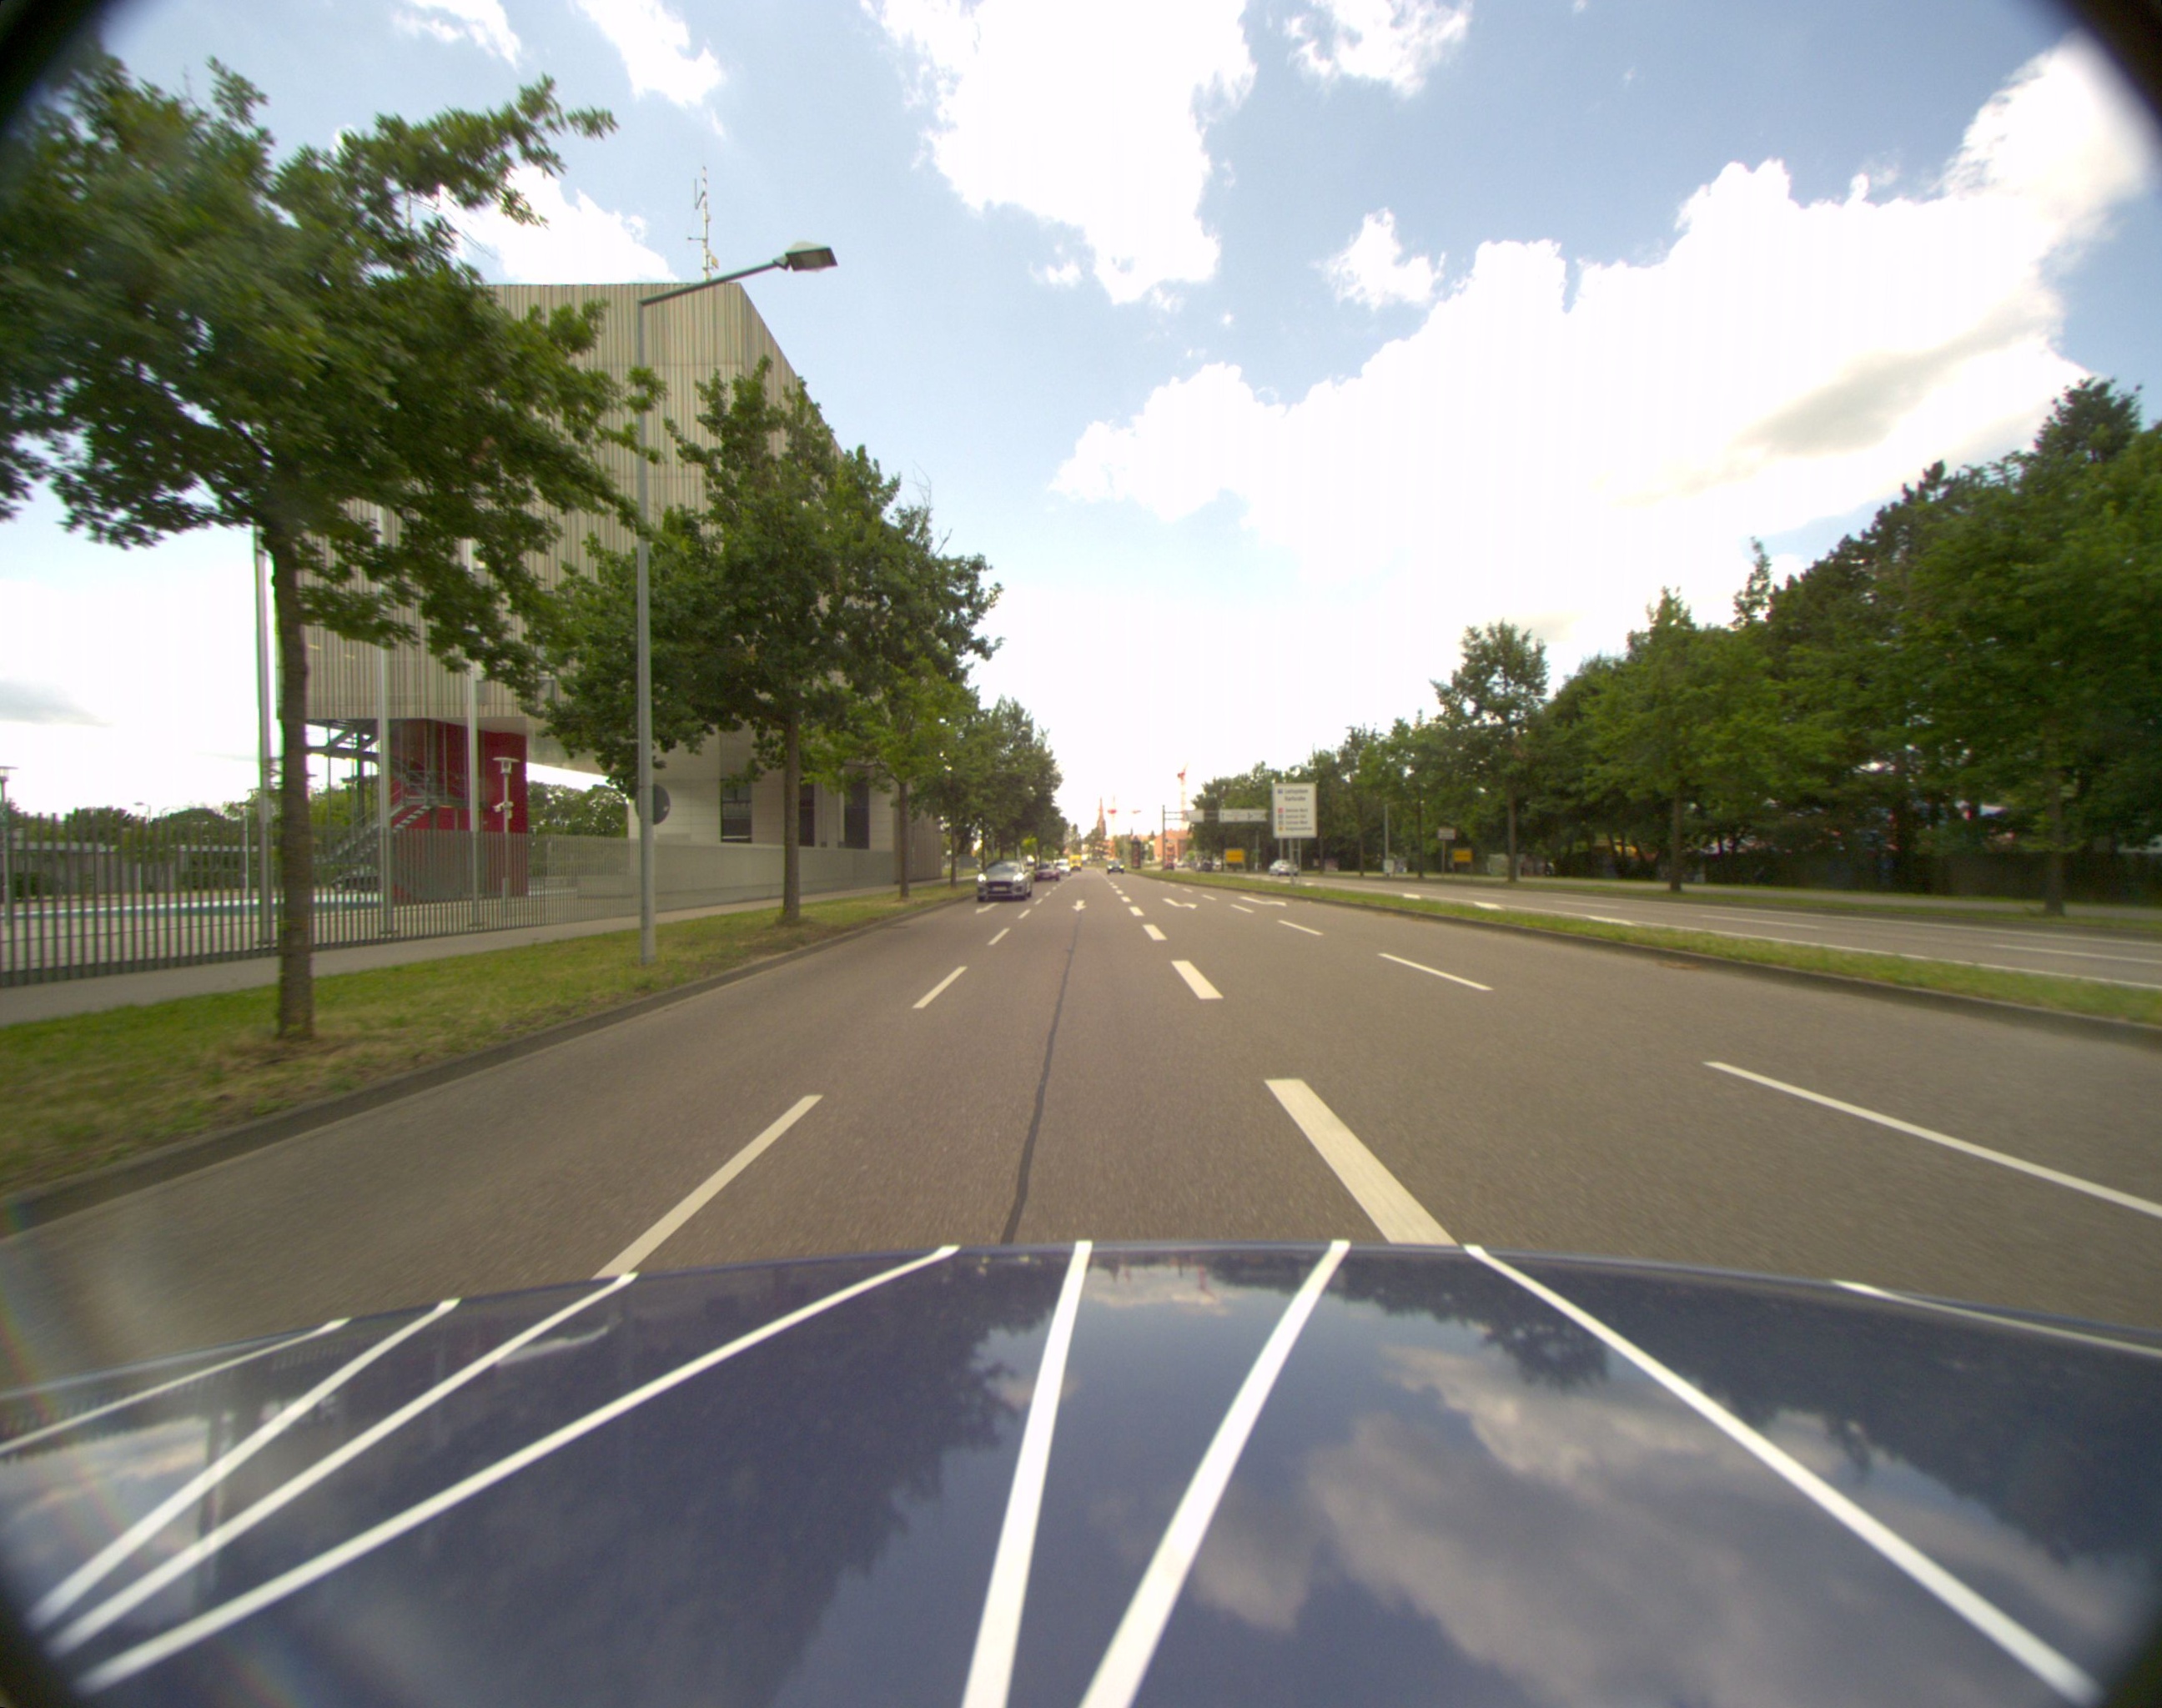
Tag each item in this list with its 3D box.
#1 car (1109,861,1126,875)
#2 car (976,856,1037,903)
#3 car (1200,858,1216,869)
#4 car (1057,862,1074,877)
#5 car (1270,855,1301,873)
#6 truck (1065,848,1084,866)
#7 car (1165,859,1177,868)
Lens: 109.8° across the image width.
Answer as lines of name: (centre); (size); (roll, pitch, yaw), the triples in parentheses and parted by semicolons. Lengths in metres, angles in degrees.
car: (4.032, 1.522, 84.618); (1.782, 1.487, 3.598); (0, 0, 1)
car: (-2.771, 0.921, 29.050); (1.823, 1.565, 3.954); (-2, 0, 1)
car: (18.460, 1.363, 110.613); (1.713, 1.487, 4.072); (0, 0, 2)
car: (-1.617, 1.657, 81.697); (1.713, 1.487, 3.650); (0, 0, 1)
car: (17.477, 0.862, 65.010); (1.713, 1.487, 3.698); (0, 0, 2)
truck: (-1.093, 0.530, 135.862); (3.066, 3.095, 7.935); (0, 0, 1)
car: (16.084, 1.735, 135.599); (1.713, 1.487, 4.072); (0, 0, 1)
